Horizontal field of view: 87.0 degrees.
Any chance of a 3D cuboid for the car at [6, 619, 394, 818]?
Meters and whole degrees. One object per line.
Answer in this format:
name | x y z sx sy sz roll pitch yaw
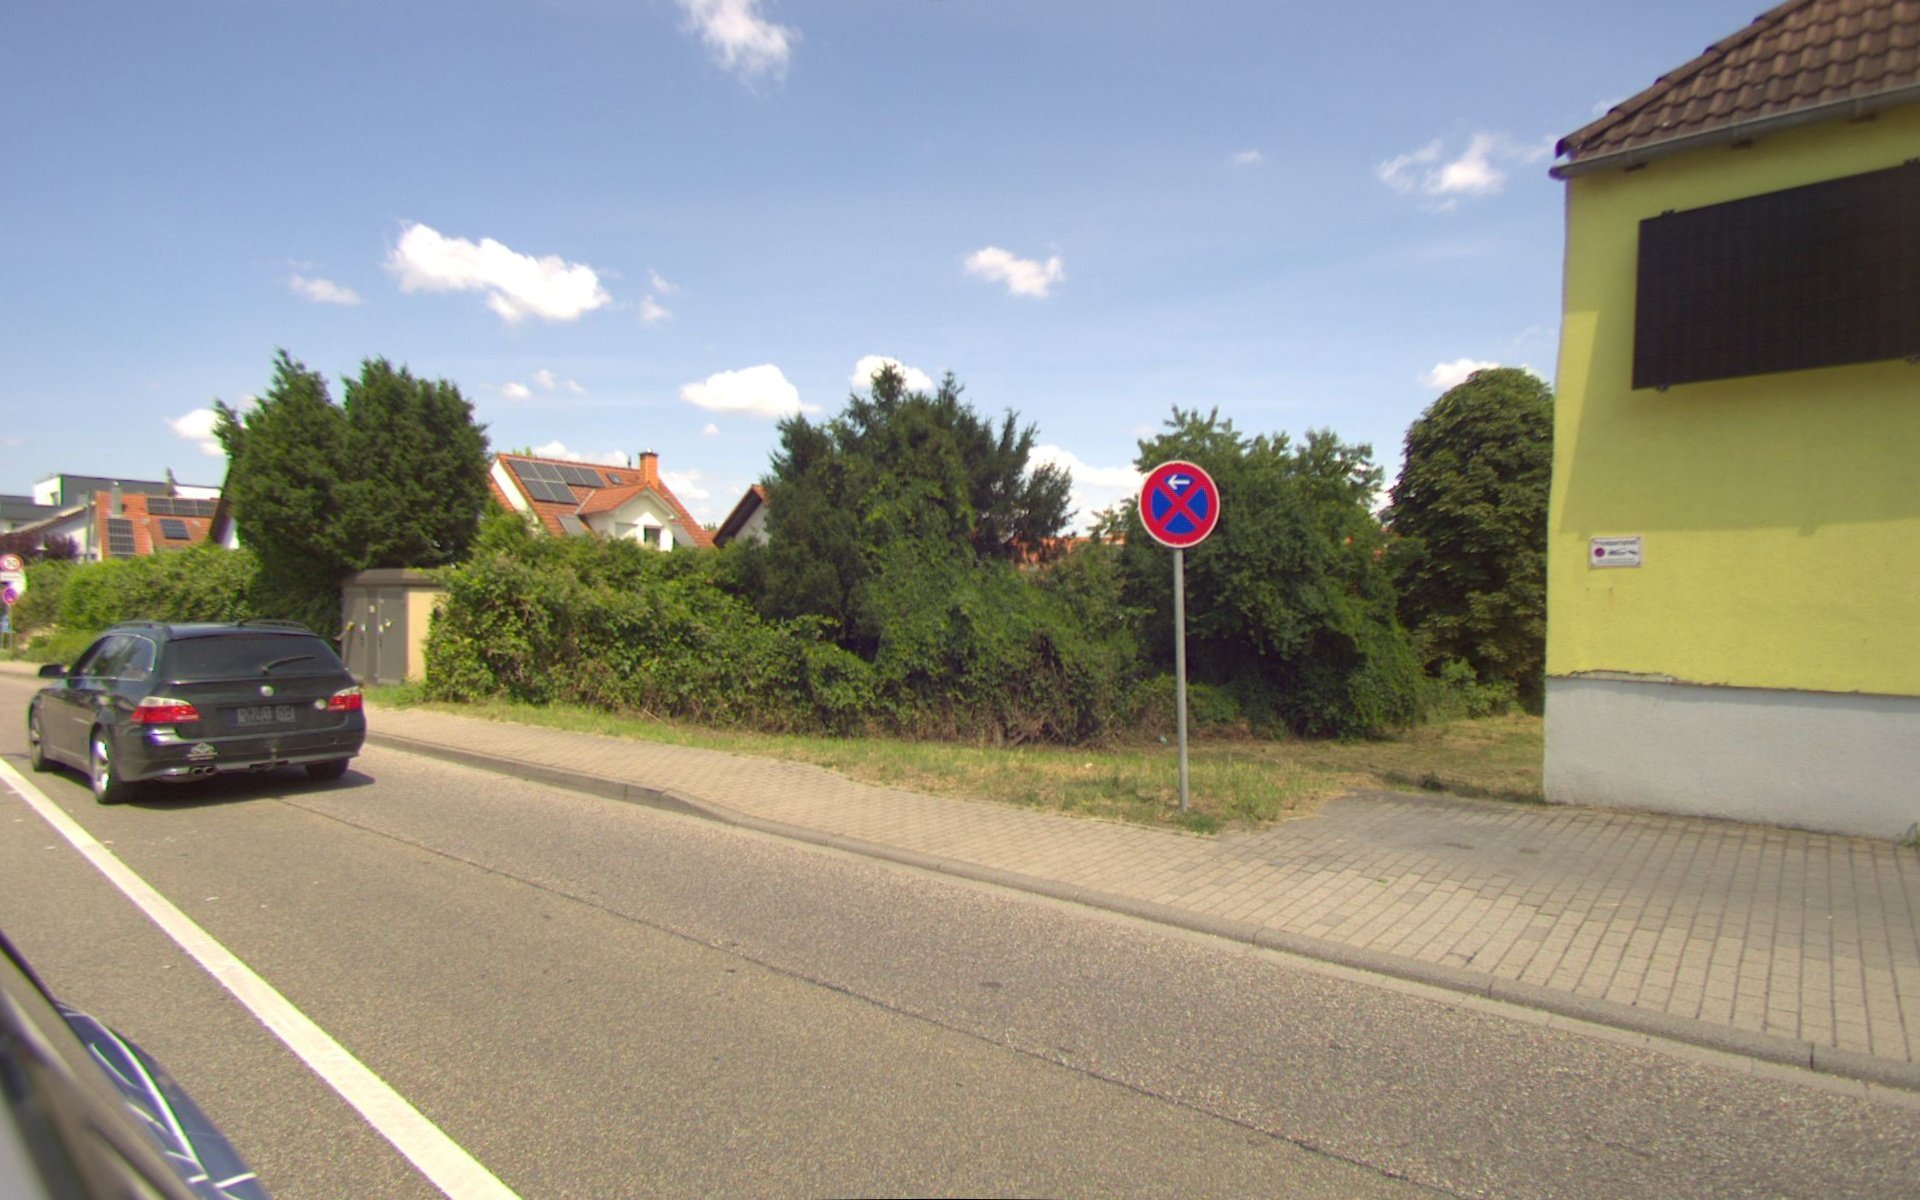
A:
car | -7.346 0.921 9.595 4.666 1.453 1.845 -1 -2 39
